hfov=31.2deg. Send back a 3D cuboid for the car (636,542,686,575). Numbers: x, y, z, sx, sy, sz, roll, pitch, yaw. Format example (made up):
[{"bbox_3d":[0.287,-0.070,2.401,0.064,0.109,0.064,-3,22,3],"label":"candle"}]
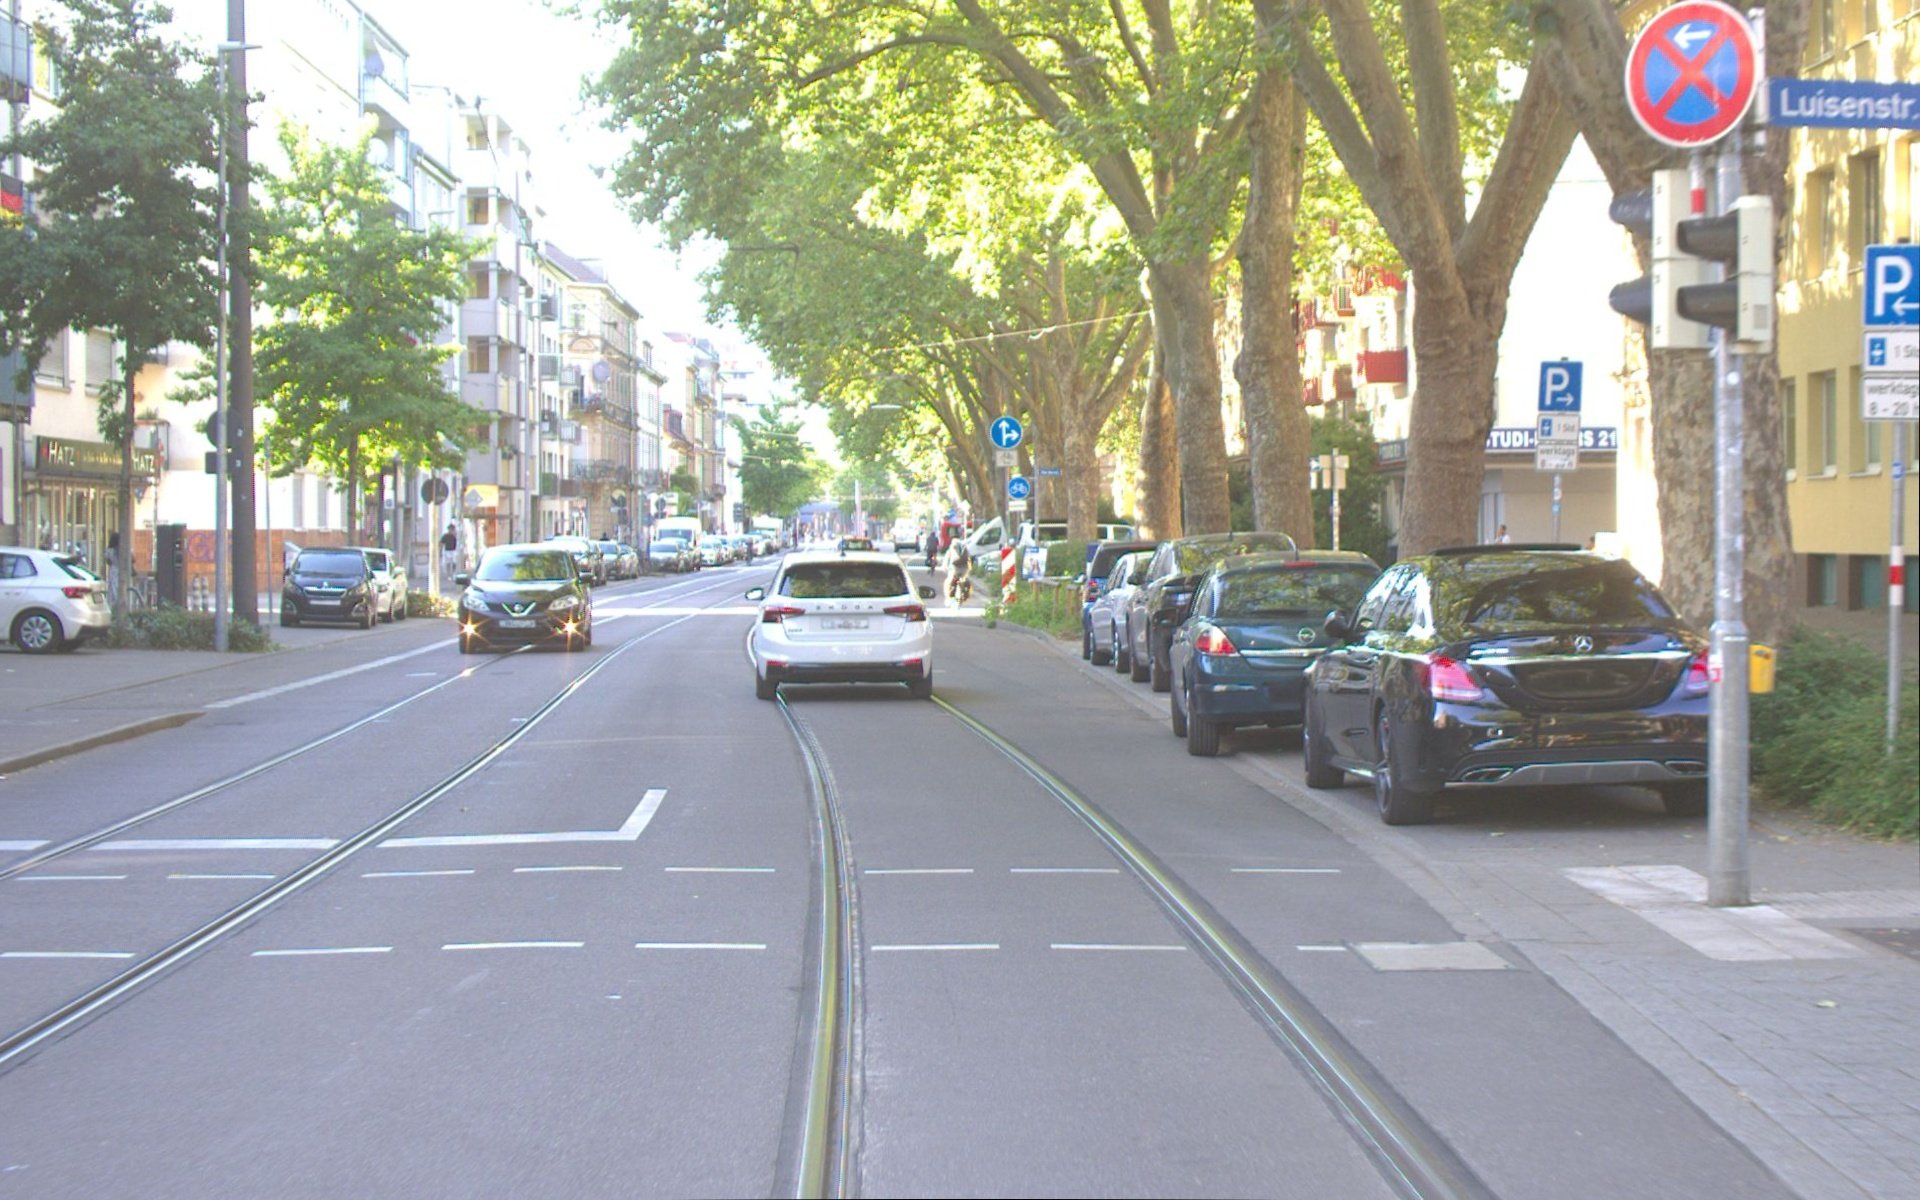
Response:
[{"bbox_3d":[-13.689,-1.916,157.684,1.993,1.525,4.000,0,1,-1],"label":"car"}]

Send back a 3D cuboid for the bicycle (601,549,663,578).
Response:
[{"bbox_3d":[-13.906,-1.539,145.710,2.525,1.168,0.883,2,-1,-41],"label":"bicycle"}]

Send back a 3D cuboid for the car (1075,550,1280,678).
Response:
[{"bbox_3d":[2.581,0.156,41.886,1.816,1.431,4.604,-2,0,-5],"label":"car"}]

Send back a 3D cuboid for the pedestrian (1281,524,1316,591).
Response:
[{"bbox_3d":[9.593,-1.206,97.445,0.766,1.860,1.189,-1,1,-5],"label":"pedestrian"}]

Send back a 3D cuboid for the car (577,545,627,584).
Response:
[{"bbox_3d":[-13.393,-1.350,128.710,1.653,1.432,3.837,0,1,-3],"label":"car"}]

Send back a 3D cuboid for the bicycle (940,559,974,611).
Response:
[{"bbox_3d":[-0.068,-0.328,72.945,0.681,1.067,1.781,-1,1,-1],"label":"bicycle"}]

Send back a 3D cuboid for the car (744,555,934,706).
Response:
[{"bbox_3d":[-1.216,0.264,34.240,1.761,1.379,4.001,-1,1,-2],"label":"car"}]

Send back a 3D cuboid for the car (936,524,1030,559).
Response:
[{"bbox_3d":[1.502,-3.864,226.827,6.129,2.274,2.529,0,1,-3],"label":"car"}]

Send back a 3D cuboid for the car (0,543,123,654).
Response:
[{"bbox_3d":[-13.661,-0.048,47.060,4.012,1.470,1.852,1,0,-3],"label":"car"}]

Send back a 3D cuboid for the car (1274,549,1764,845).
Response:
[{"bbox_3d":[3.016,0.446,19.630,1.764,1.457,5.013,0,1,-3],"label":"car"}]

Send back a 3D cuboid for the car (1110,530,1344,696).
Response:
[{"bbox_3d":[2.749,0.125,36.432,1.857,1.598,4.783,-2,0,-3],"label":"car"}]

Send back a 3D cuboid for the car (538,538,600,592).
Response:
[{"bbox_3d":[-12.835,-1.169,113.033,1.702,1.645,4.242,2,1,-3],"label":"car"}]

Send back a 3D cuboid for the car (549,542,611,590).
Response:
[{"bbox_3d":[-13.006,-1.181,117.869,1.702,1.539,4.242,2,1,-1],"label":"car"}]

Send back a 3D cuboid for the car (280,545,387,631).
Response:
[{"bbox_3d":[-11.545,-0.245,63.561,1.713,1.459,4.001,3,0,-8],"label":"car"}]

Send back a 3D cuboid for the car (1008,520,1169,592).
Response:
[{"bbox_3d":[3.760,-1.296,101.019,4.543,2.069,2.001,0,1,-3],"label":"car"}]

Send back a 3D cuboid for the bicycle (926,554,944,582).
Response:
[{"bbox_3d":[-0.986,-1.248,134.734,0.649,1.067,1.583,-1,1,-3],"label":"bicycle"}]

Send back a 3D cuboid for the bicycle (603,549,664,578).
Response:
[{"bbox_3d":[-13.930,-1.552,146.534,2.524,1.168,0.719,2,-1,-7],"label":"bicycle"}]

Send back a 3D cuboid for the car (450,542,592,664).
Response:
[{"bbox_3d":[-6.244,0.009,49.211,1.871,1.584,4.147,2,1,-6],"label":"car"}]

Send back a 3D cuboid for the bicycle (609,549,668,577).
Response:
[{"bbox_3d":[-14.042,-1.611,150.312,2.524,1.168,0.719,2,-1,-7],"label":"bicycle"}]

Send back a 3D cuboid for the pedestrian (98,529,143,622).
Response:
[{"bbox_3d":[-15.358,-0.447,62.882,0.663,1.685,0.749,0,1,-3],"label":"pedestrian"}]

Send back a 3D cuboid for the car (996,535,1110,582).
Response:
[{"bbox_3d":[3.314,-1.490,123.144,3.986,1.674,1.724,0,1,-2],"label":"car"}]

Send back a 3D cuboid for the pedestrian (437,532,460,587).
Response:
[{"bbox_3d":[-17.130,-1.352,115.094,0.663,1.820,0.965,0,1,-3],"label":"pedestrian"}]

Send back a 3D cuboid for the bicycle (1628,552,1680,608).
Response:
[{"bbox_3d":[14.089,-0.407,69.854,0.582,1.100,1.923,-2,1,-2],"label":"bicycle"}]

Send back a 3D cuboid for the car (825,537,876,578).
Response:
[{"bbox_3d":[-4.028,-1.591,127.073,1.761,1.470,4.000,-1,1,-1],"label":"car"}]

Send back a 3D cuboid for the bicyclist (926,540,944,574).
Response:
[{"bbox_3d":[-0.996,-1.684,134.739,0.649,1.339,0.934,-1,1,-3],"label":"bicyclist"}]

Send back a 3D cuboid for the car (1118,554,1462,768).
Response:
[{"bbox_3d":[2.398,0.395,26.023,1.864,1.432,4.227,-1,1,-4],"label":"car"}]

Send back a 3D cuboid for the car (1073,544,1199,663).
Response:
[{"bbox_3d":[2.354,0.042,46.421,1.564,1.514,2.910,-2,0,1],"label":"car"}]

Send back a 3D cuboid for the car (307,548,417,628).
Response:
[{"bbox_3d":[-11.859,-0.256,68.344,1.713,1.459,4.378,3,0,-5],"label":"car"}]

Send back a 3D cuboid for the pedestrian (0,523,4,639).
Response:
[{"bbox_3d":[-14.294,-0.270,49.688,0.763,1.685,0.795,0,1,-3],"label":"pedestrian"}]

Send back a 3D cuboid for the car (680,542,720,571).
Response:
[{"bbox_3d":[-14.337,-2.408,189.732,1.993,1.525,4.000,0,1,-1],"label":"car"}]

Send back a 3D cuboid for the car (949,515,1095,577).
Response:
[{"bbox_3d":[2.638,-2.323,147.997,6.129,2.626,2.529,0,1,-3],"label":"car"}]

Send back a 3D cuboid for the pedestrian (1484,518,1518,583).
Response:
[{"bbox_3d":[13.615,-1.246,86.547,0.746,1.639,0.666,0,1,0],"label":"pedestrian"}]

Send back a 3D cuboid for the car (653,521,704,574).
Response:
[{"bbox_3d":[-13.864,-2.602,169.400,2.178,2.588,4.949,0,1,-1],"label":"car"}]

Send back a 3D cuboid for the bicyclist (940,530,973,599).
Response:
[{"bbox_3d":[-0.070,-0.760,72.765,0.678,1.438,1.047,-1,1,0],"label":"bicyclist"}]
